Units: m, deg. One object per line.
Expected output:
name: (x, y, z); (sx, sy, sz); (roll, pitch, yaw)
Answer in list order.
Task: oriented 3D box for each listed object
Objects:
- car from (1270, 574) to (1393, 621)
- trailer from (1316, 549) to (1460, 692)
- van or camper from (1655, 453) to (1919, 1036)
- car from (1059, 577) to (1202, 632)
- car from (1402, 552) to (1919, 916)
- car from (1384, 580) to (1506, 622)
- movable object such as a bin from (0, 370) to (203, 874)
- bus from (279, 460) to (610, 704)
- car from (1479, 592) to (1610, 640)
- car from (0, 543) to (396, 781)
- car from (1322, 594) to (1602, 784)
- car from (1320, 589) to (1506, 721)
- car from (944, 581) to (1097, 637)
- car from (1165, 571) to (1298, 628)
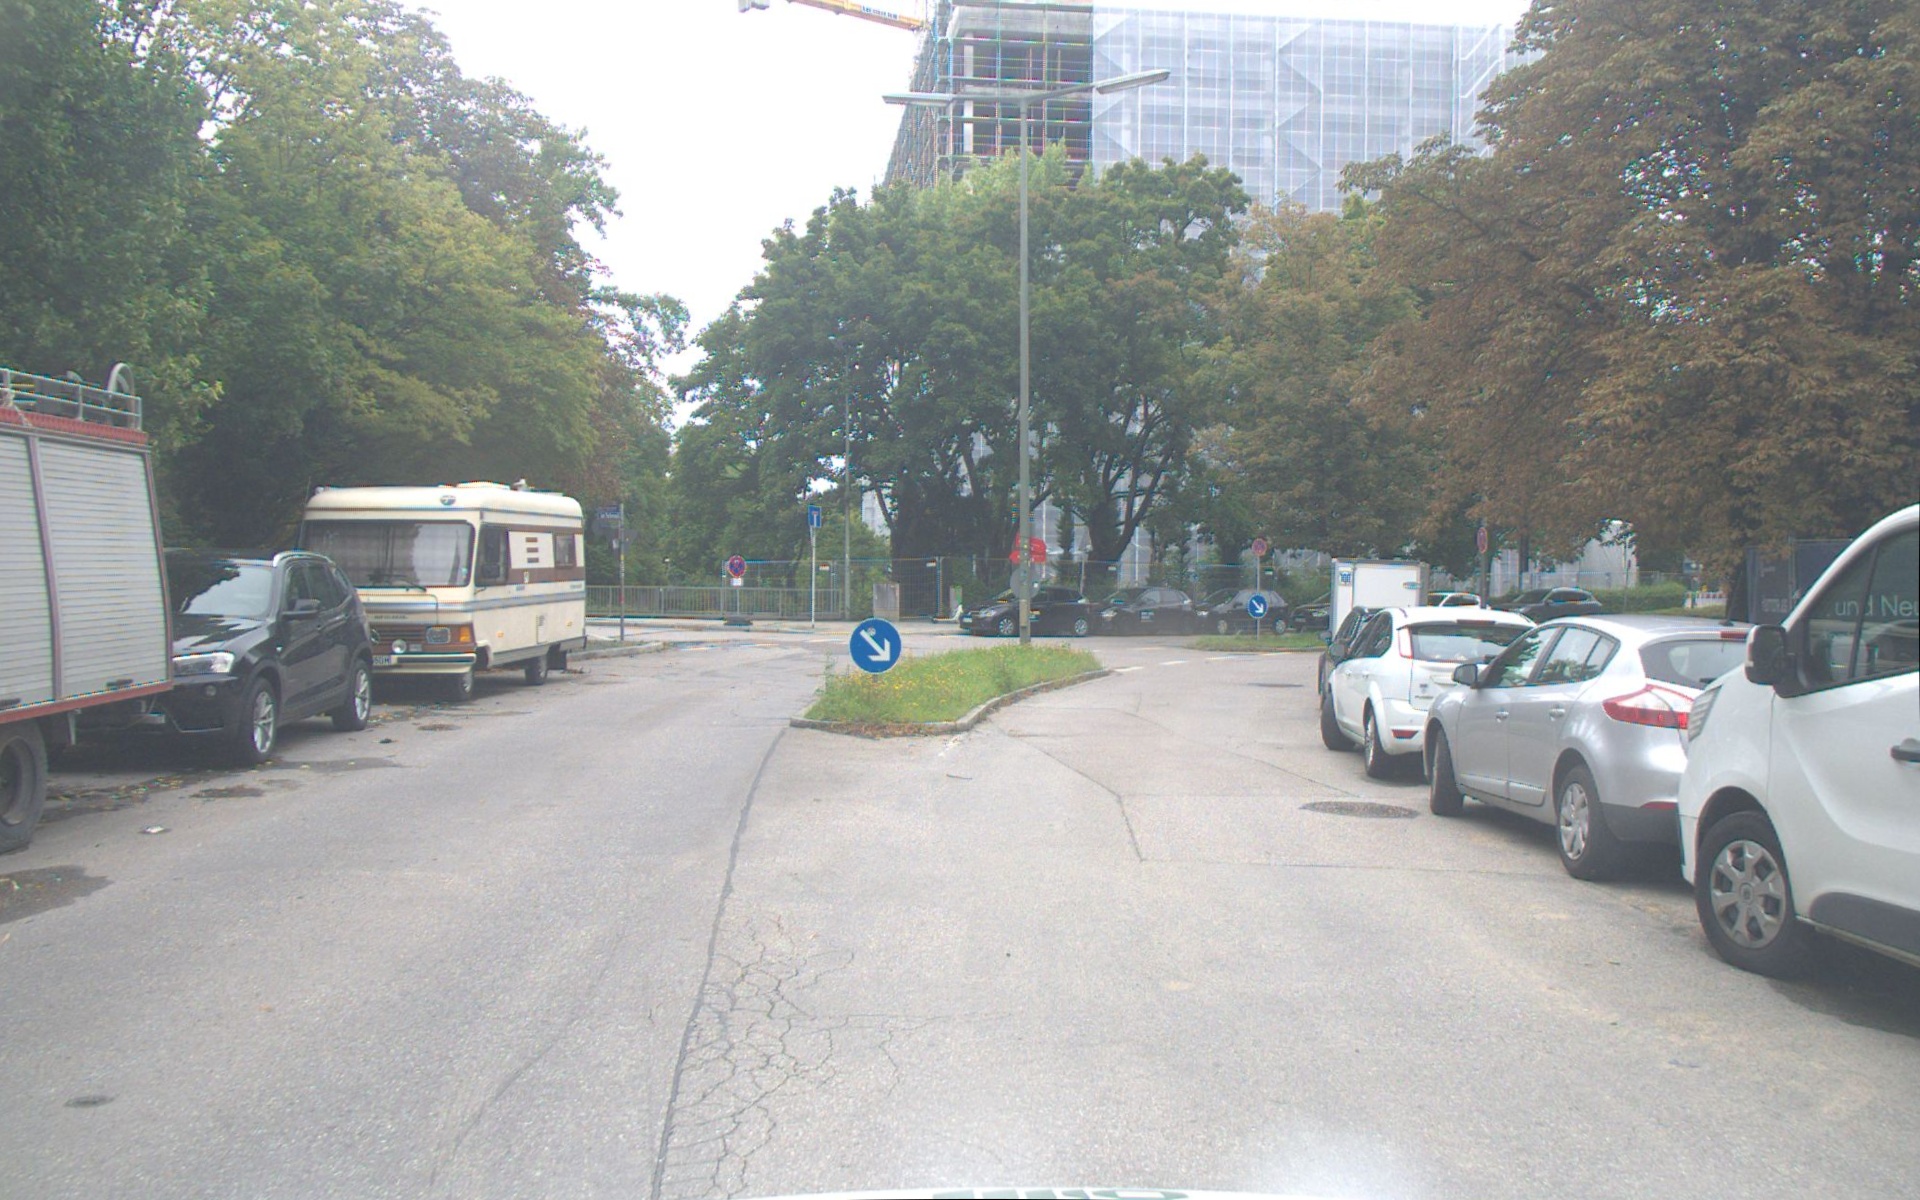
car: (12.418, -0.106, 55.228); (3.958, 1.486, 1.819); (-1, 1, -34)
trailer: (6.848, 0.279, 26.162); (1.771, 2.049, 4.835); (0, 0, 20)
van or camper: (4.376, 0.513, 5.232); (1.953, 2.049, 5.374); (0, 0, -2)
car: (5.114, 0.103, 49.581); (3.952, 1.568, 1.977); (0, 1, -34)
car: (4.377, 0.657, 10.372); (1.953, 1.758, 4.449); (1, 0, -1)
car: (16.987, 0.028, 57.887); (4.163, 1.408, 1.783); (0, 0, -32)
movable object such as a bin: (-5.755, 0.119, 7.509); (2.062, 2.501, 6.183); (0, 1, -3)
bus: (-6.422, -0.244, 21.512); (2.267, 2.746, 5.737); (0, 1, 3)
car: (21.066, 0.574, 59.623); (4.322, 1.634, 1.879); (2, 0, -23)
car: (-6.220, 0.405, 13.944); (1.741, 1.678, 4.456); (0, 1, -5)
car: (4.583, 0.721, 15.708); (1.729, 1.512, 4.224); (0, 1, 5)
car: (5.688, 0.628, 21.240); (1.832, 1.462, 4.332); (-1, 1, 9)
car: (1.743, 0.222, 47.207); (3.993, 1.457, 1.977); (0, 3, -34)
car: (8.646, -0.021, 52.557); (3.952, 1.736, 1.977); (0, 0, -34)
